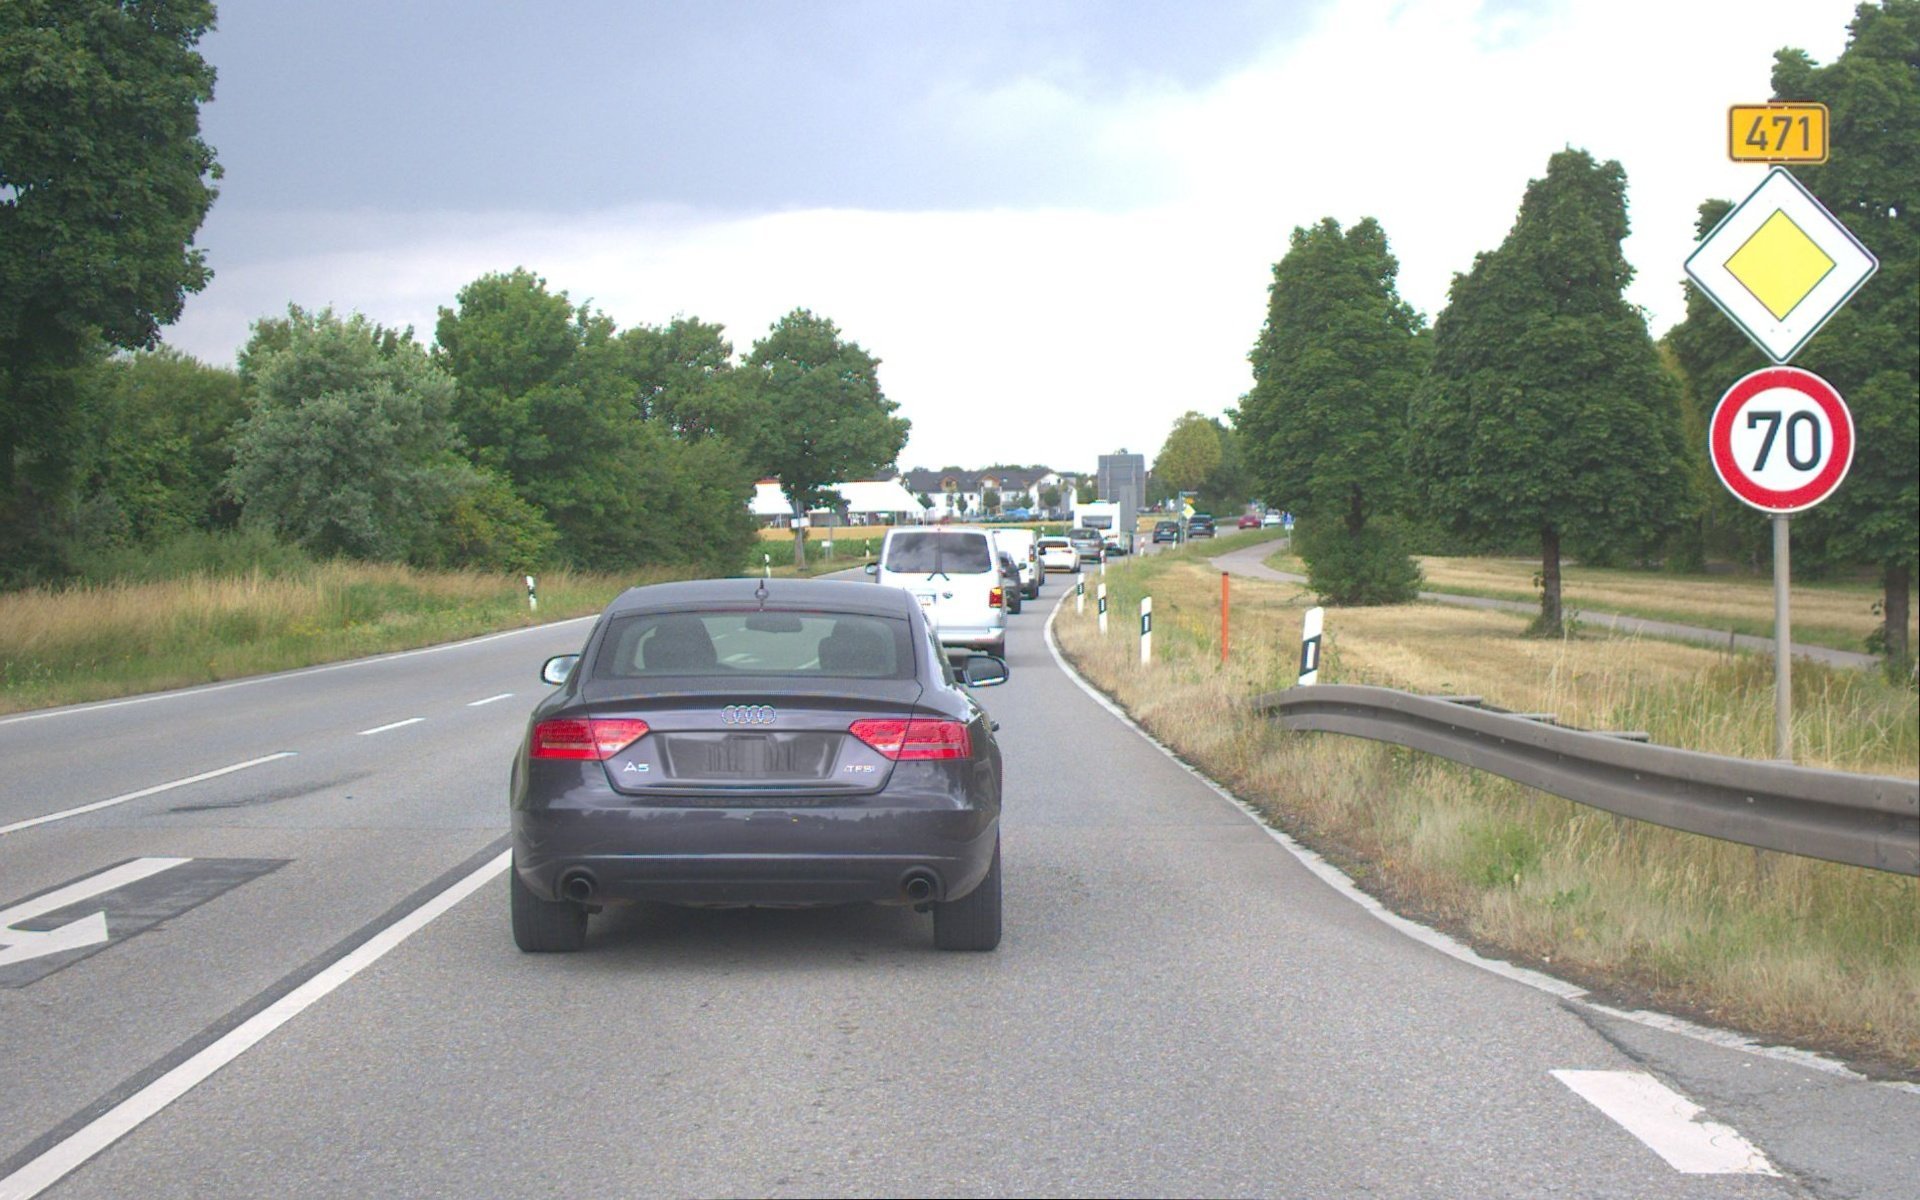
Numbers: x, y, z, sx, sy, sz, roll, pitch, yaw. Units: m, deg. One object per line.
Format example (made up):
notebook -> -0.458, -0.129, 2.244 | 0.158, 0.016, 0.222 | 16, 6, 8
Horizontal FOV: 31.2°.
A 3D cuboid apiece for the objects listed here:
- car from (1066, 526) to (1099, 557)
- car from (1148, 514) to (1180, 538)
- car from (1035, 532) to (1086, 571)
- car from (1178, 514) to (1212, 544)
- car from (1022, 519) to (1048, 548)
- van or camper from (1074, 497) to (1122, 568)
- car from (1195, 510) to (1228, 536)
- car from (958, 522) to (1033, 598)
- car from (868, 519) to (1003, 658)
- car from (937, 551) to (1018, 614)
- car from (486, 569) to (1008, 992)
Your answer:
car -> 5.392, -2.566, 150.993 | 1.258, 1.349, 3.465 | 0, 1, 5
car -> 12.709, -4.619, 214.481 | 1.719, 1.446, 4.000 | 1, 1, 0
car -> 3.931, -1.888, 134.009 | 1.736, 1.509, 3.746 | 0, 1, 5
car -> 16.291, -4.920, 238.212 | 1.993, 2.007, 4.000 | 0, 1, -1
car -> 4.800, -4.269, 220.229 | 1.595, 1.796, 3.201 | 1, 1, 0
van or camper -> 6.863, -3.334, 170.247 | 2.340, 3.469, 5.718 | 0, 1, 3
car -> 16.044, -4.924, 219.586 | 1.821, 1.591, 4.000 | 1, 1, 0
car -> 1.016, -1.132, 96.906 | 1.993, 2.081, 4.000 | 0, 1, 2
car -> -0.365, -0.208, 49.028 | 1.838, 1.876, 4.000 | 1, 1, -1
car -> 0.432, -0.432, 81.788 | 1.796, 1.459, 3.248 | 0, 1, 3
car -> -0.764, 0.605, 13.826 | 1.783, 1.372, 4.000 | 1, 1, -1
